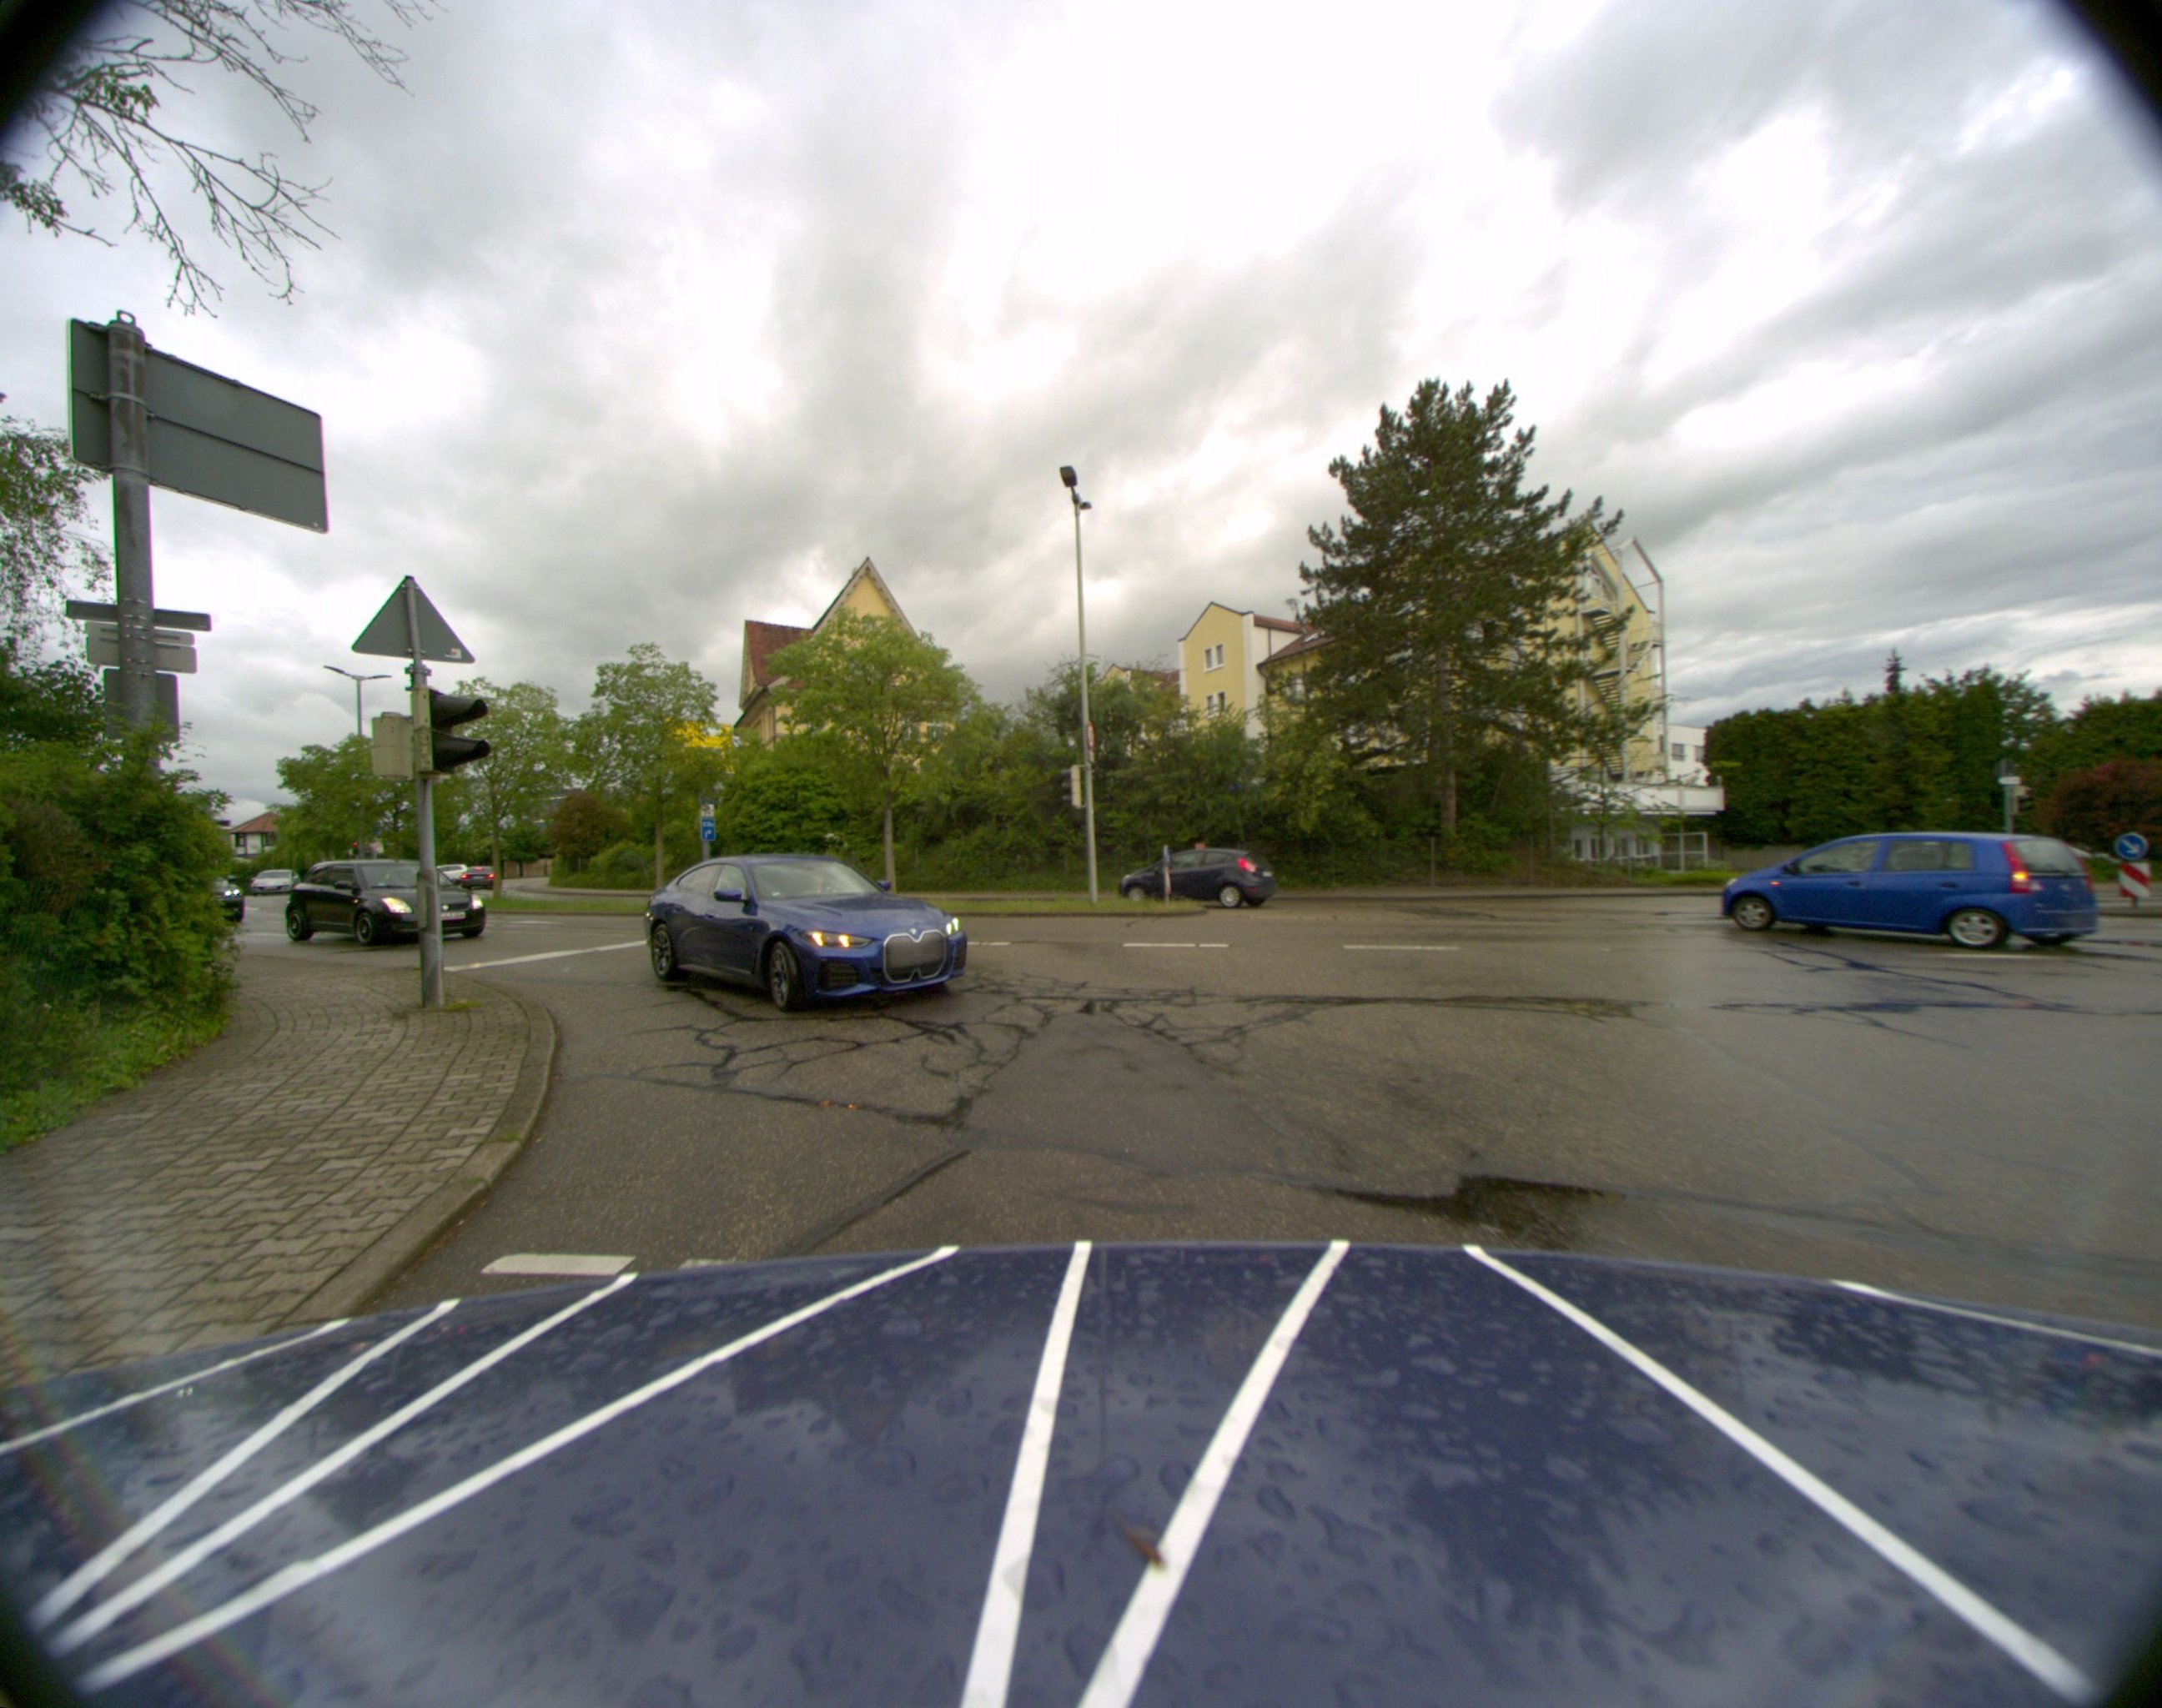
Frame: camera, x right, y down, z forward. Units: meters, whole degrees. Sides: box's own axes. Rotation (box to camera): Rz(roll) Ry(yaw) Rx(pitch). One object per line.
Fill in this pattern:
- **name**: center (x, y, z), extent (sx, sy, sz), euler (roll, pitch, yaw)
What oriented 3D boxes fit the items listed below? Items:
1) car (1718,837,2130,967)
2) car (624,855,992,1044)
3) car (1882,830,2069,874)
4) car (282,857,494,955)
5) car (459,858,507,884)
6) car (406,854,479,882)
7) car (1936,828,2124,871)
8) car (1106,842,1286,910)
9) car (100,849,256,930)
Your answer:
- **car**: center (11.057, 0.513, 10.342), extent (1.525, 1.448, 3.436), euler (0, 1, -12)
- **car**: center (-3.183, 0.796, 8.410), extent (4.336, 1.487, 1.918), euler (0, 3, 41)
- **car**: center (32.693, -0.081, 27.968), extent (2.000, 1.455, 3.996), euler (-2, 1, -8)
- **car**: center (-12.959, 0.892, 14.174), extent (3.989, 1.511, 1.750), euler (-1, 3, 31)
- **car**: center (-38.134, 1.070, 48.572), extent (2.003, 1.429, 4.537), euler (-5, 1, -34)
- **car**: center (-51.679, 1.114, 61.590), extent (1.995, 2.002, 4.006), euler (-3, 2, 34)
- **car**: center (35.118, -0.162, 28.294), extent (1.732, 1.386, 3.996), euler (-4, 1, -11)
- **car**: center (2.834, 0.463, 18.976), extent (3.988, 1.492, 1.929), euler (0, 2, 35)
- **car**: center (-22.752, 0.891, 19.116), extent (4.296, 1.740, 1.972), euler (-3, 2, 34)
